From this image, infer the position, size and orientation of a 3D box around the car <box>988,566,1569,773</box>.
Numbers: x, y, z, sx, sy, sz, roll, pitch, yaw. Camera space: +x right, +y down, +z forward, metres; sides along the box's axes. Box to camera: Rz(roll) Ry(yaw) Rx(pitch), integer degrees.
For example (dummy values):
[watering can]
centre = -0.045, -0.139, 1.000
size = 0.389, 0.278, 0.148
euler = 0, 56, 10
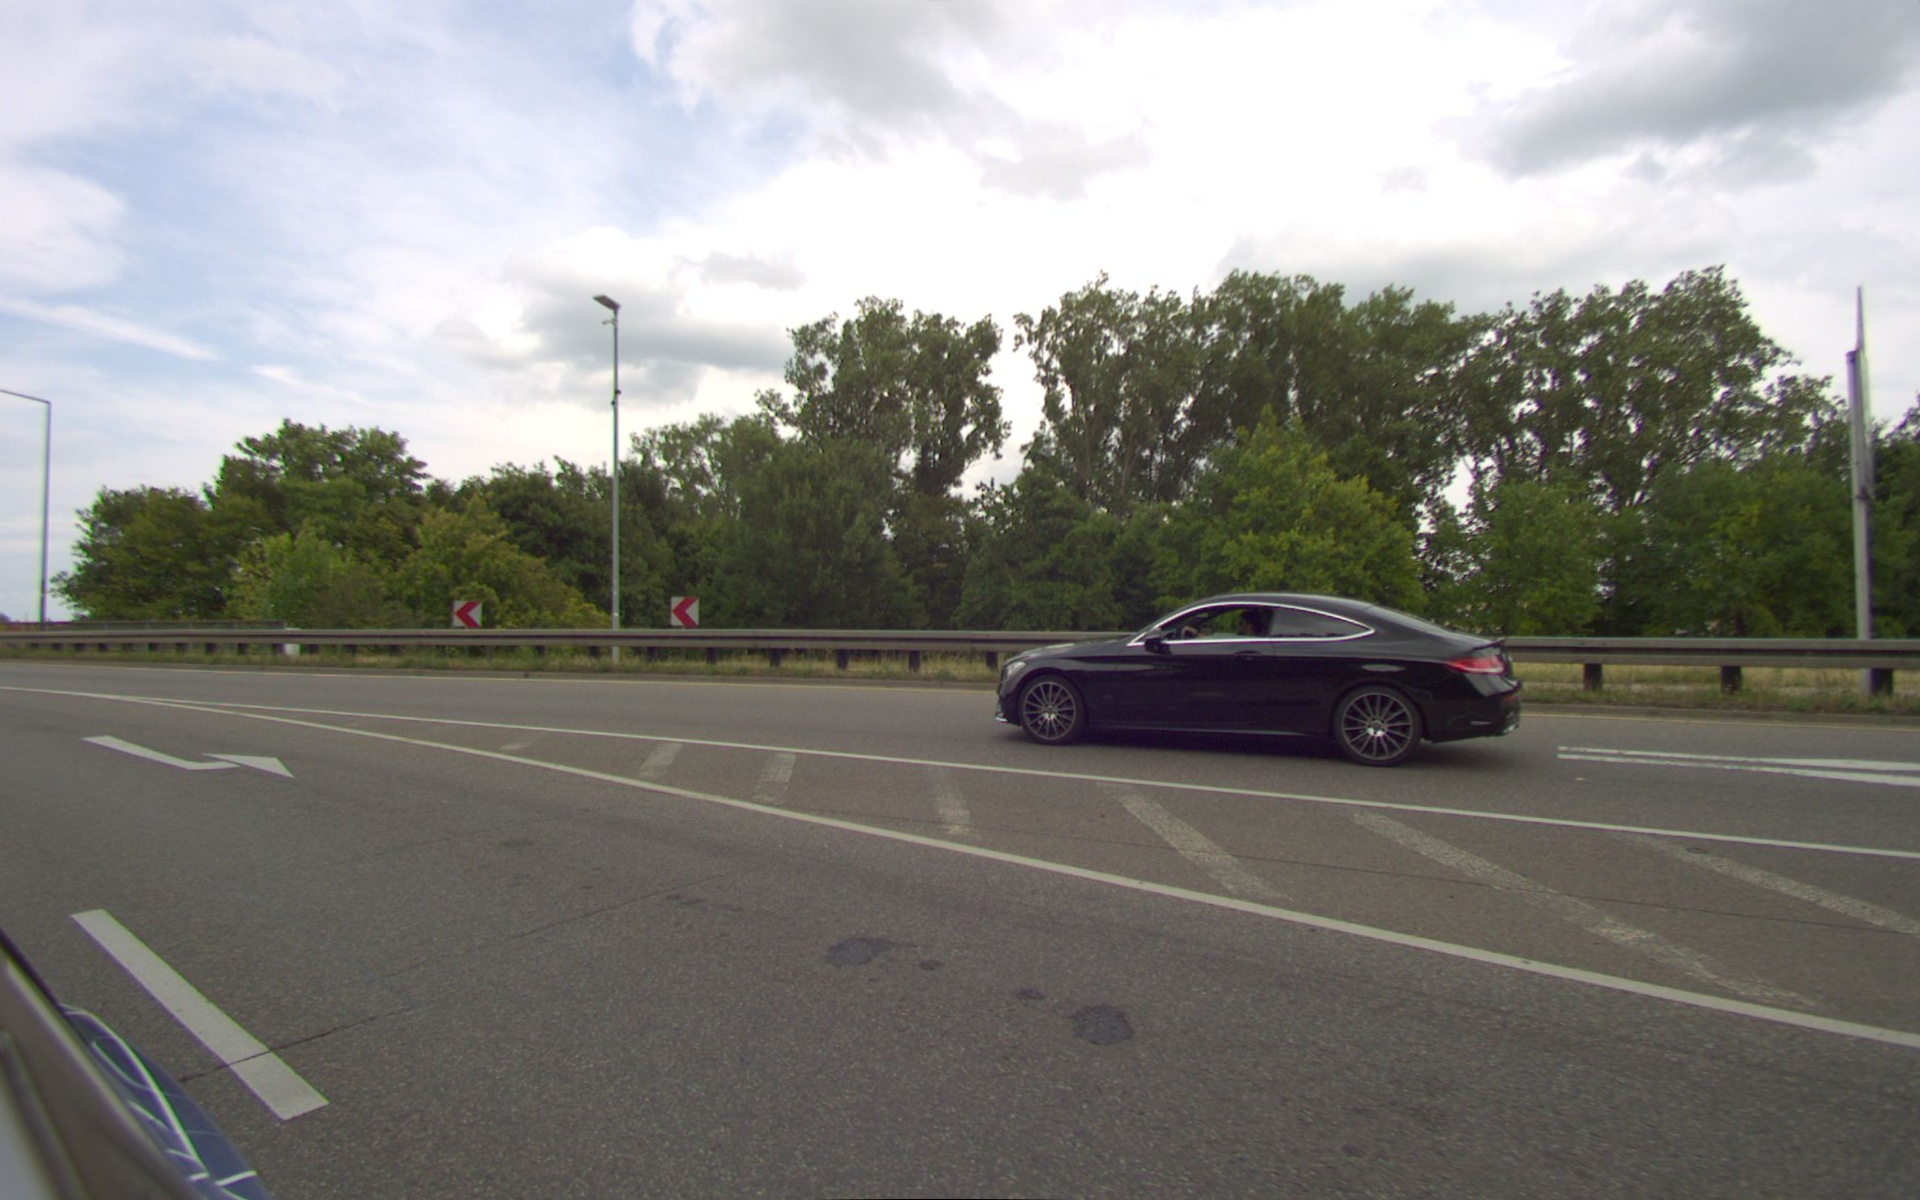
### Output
[car]
centre = 2.754, 0.532, 9.192
size = 4.633, 1.466, 1.980
euler = -1, -1, 29
